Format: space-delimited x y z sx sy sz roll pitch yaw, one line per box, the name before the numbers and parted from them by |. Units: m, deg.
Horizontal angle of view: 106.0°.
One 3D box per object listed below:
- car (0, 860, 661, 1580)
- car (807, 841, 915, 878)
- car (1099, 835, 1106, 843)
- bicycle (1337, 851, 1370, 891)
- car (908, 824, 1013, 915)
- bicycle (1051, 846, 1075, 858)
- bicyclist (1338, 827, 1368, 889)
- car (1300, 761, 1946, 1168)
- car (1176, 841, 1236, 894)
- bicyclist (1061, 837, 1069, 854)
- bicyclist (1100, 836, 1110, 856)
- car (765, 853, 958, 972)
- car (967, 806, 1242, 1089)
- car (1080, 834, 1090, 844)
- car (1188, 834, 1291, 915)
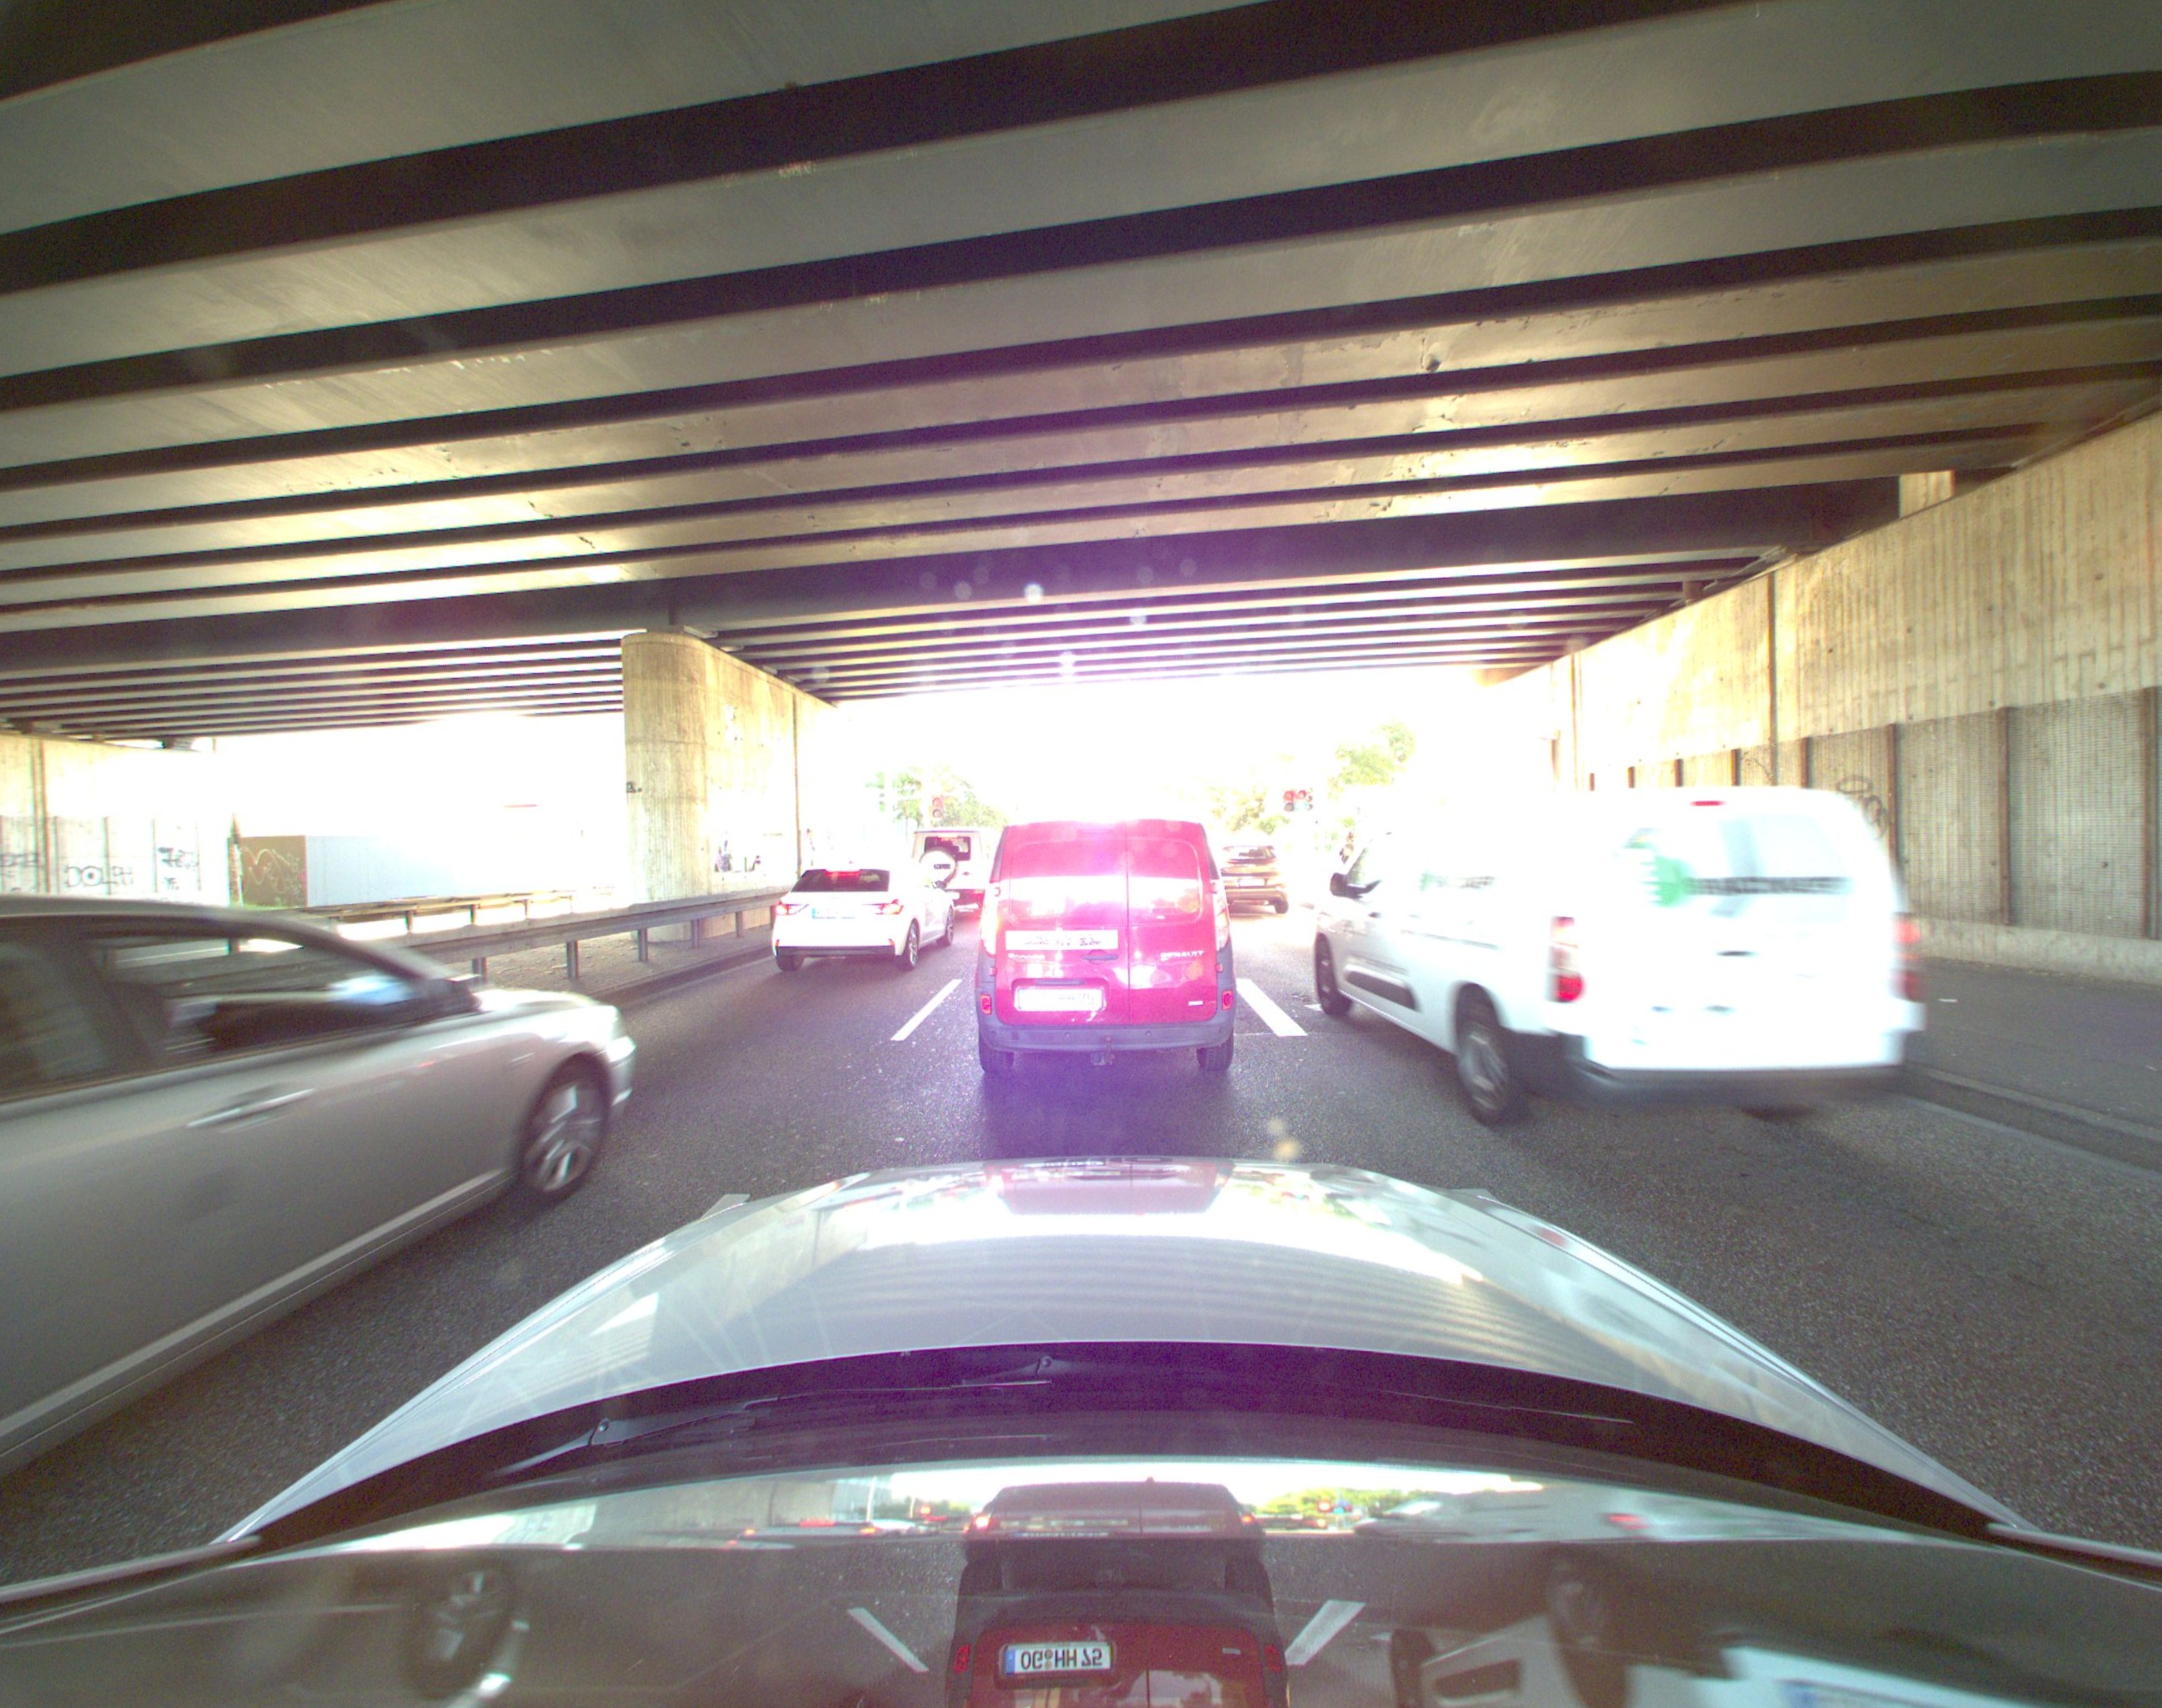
car | -3.074 0.772 2.094 1.691 1.455 4.397 0 0 0
car | -9.996 0.246 37.283 1.975 1.607 4.387 -1 -1 44
car | 5.898 -4.058 220.891 1.986 2.014 4.001 0 0 2
bicycle | 7.182 0.431 21.484 0.672 1.024 1.534 0 0 12
car | -2.698 0.318 19.055 1.807 1.904 3.814 0 0 1
bicycle | -1.434 -0.142 64.500 1.908 0.867 0.605 -1 0 -2
bicyclist | 7.195 0.112 21.578 0.673 1.629 0.646 0 -1 12
car | 3.048 0.468 5.854 1.807 1.833 4.300 0 1 0
car | 3.920 0.377 25.926 1.644 1.552 3.869 0 1 5
bicyclist | -1.270 -0.646 64.529 0.651 1.329 0.602 0 -1 -2
bicyclist | 1.908 -0.619 63.952 0.752 1.542 0.697 -1 0 2
car | -2.923 0.704 11.696 1.687 1.410 3.813 0 0 1
car | 0.211 0.581 7.104 1.712 1.764 4.002 0 0 2
car | 0.851 -3.251 179.073 1.986 2.014 4.001 0 0 2
car | 3.566 0.419 18.975 1.771 1.655 3.993 -1 0 3
